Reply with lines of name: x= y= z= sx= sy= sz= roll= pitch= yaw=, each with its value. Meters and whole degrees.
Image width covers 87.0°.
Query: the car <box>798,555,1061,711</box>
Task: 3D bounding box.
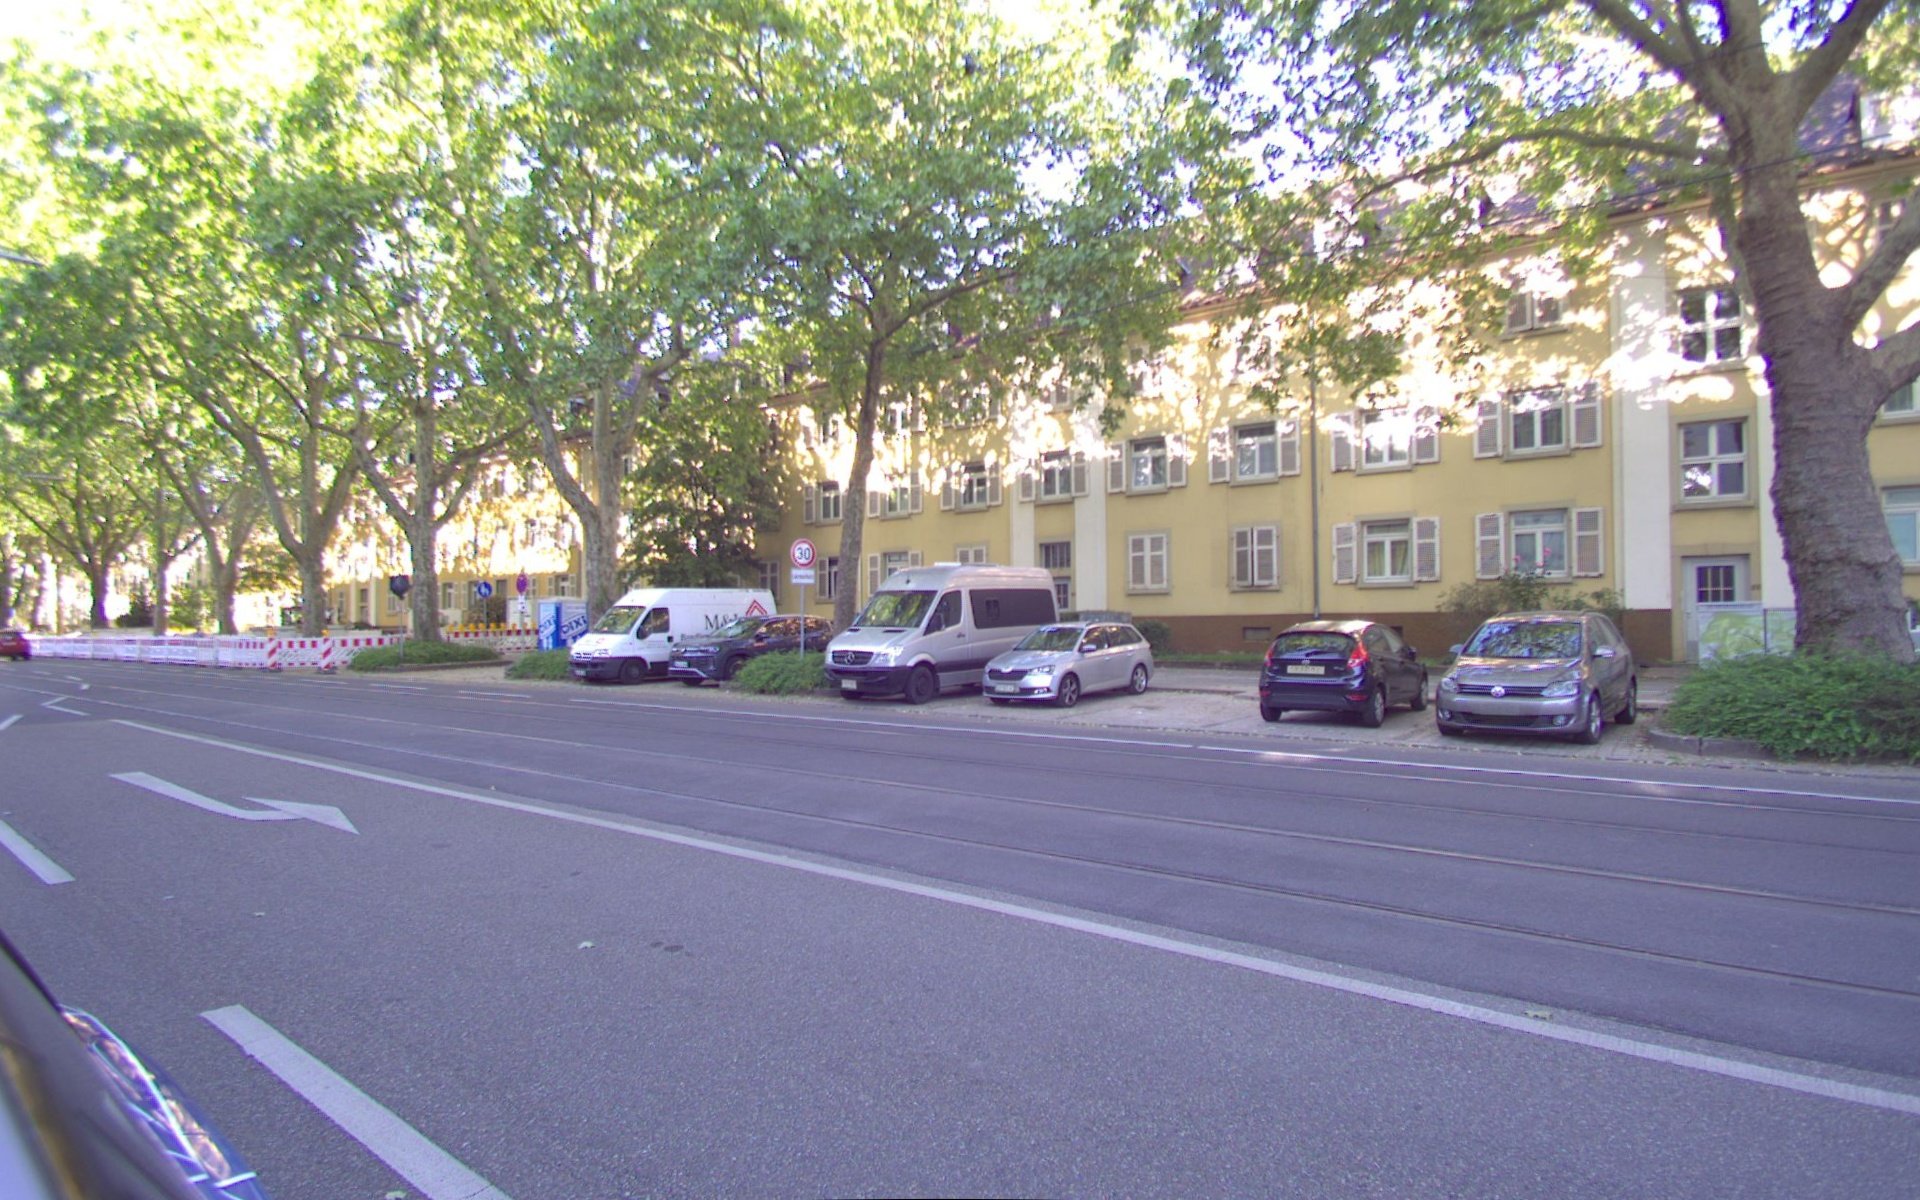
car: x=-0.433 y=0.612 z=20.450 sx=2.221 sy=2.702 sz=5.596 roll=-2 pitch=-1 yaw=38

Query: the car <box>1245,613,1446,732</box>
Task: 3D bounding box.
car: x=5.960 y=1.004 z=15.421 sx=1.671 sy=1.509 sz=3.756 roll=-2 pitch=-1 yaw=41

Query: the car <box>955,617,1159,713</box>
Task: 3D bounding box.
car: x=1.906 y=1.124 z=18.838 sx=1.773 sy=1.509 sz=4.031 roll=-2 pitch=-1 yaw=41

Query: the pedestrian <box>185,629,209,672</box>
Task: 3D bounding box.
pedestrian: x=-32.044 y=2.097 z=42.507 sx=0.641 sy=1.759 sz=0.585 roll=-1 pitch=0 yaw=-22

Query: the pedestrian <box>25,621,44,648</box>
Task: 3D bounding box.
pedestrian: x=-66.098 y=2.447 z=72.287 sx=0.724 sy=1.900 sz=0.664 roll=-1 pitch=0 yaw=4

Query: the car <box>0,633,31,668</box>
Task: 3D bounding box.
car: x=-45.993 y=2.381 z=48.050 sx=4.484 sy=1.577 sz=1.997 roll=-2 pitch=-2 yaw=37

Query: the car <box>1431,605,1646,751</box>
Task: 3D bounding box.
car: x=7.737 y=0.901 z=13.370 sx=1.672 sy=1.592 sz=3.928 roll=-2 pitch=-1 yaw=41

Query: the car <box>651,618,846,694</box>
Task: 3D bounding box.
car: x=-4.985 y=1.279 z=24.450 sx=1.772 sy=1.664 sz=4.570 roll=-2 pitch=-2 yaw=38

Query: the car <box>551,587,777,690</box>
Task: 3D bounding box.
car: x=-7.567 y=0.967 z=26.377 sx=2.222 sy=2.394 sz=5.336 roll=-2 pitch=-2 yaw=40
